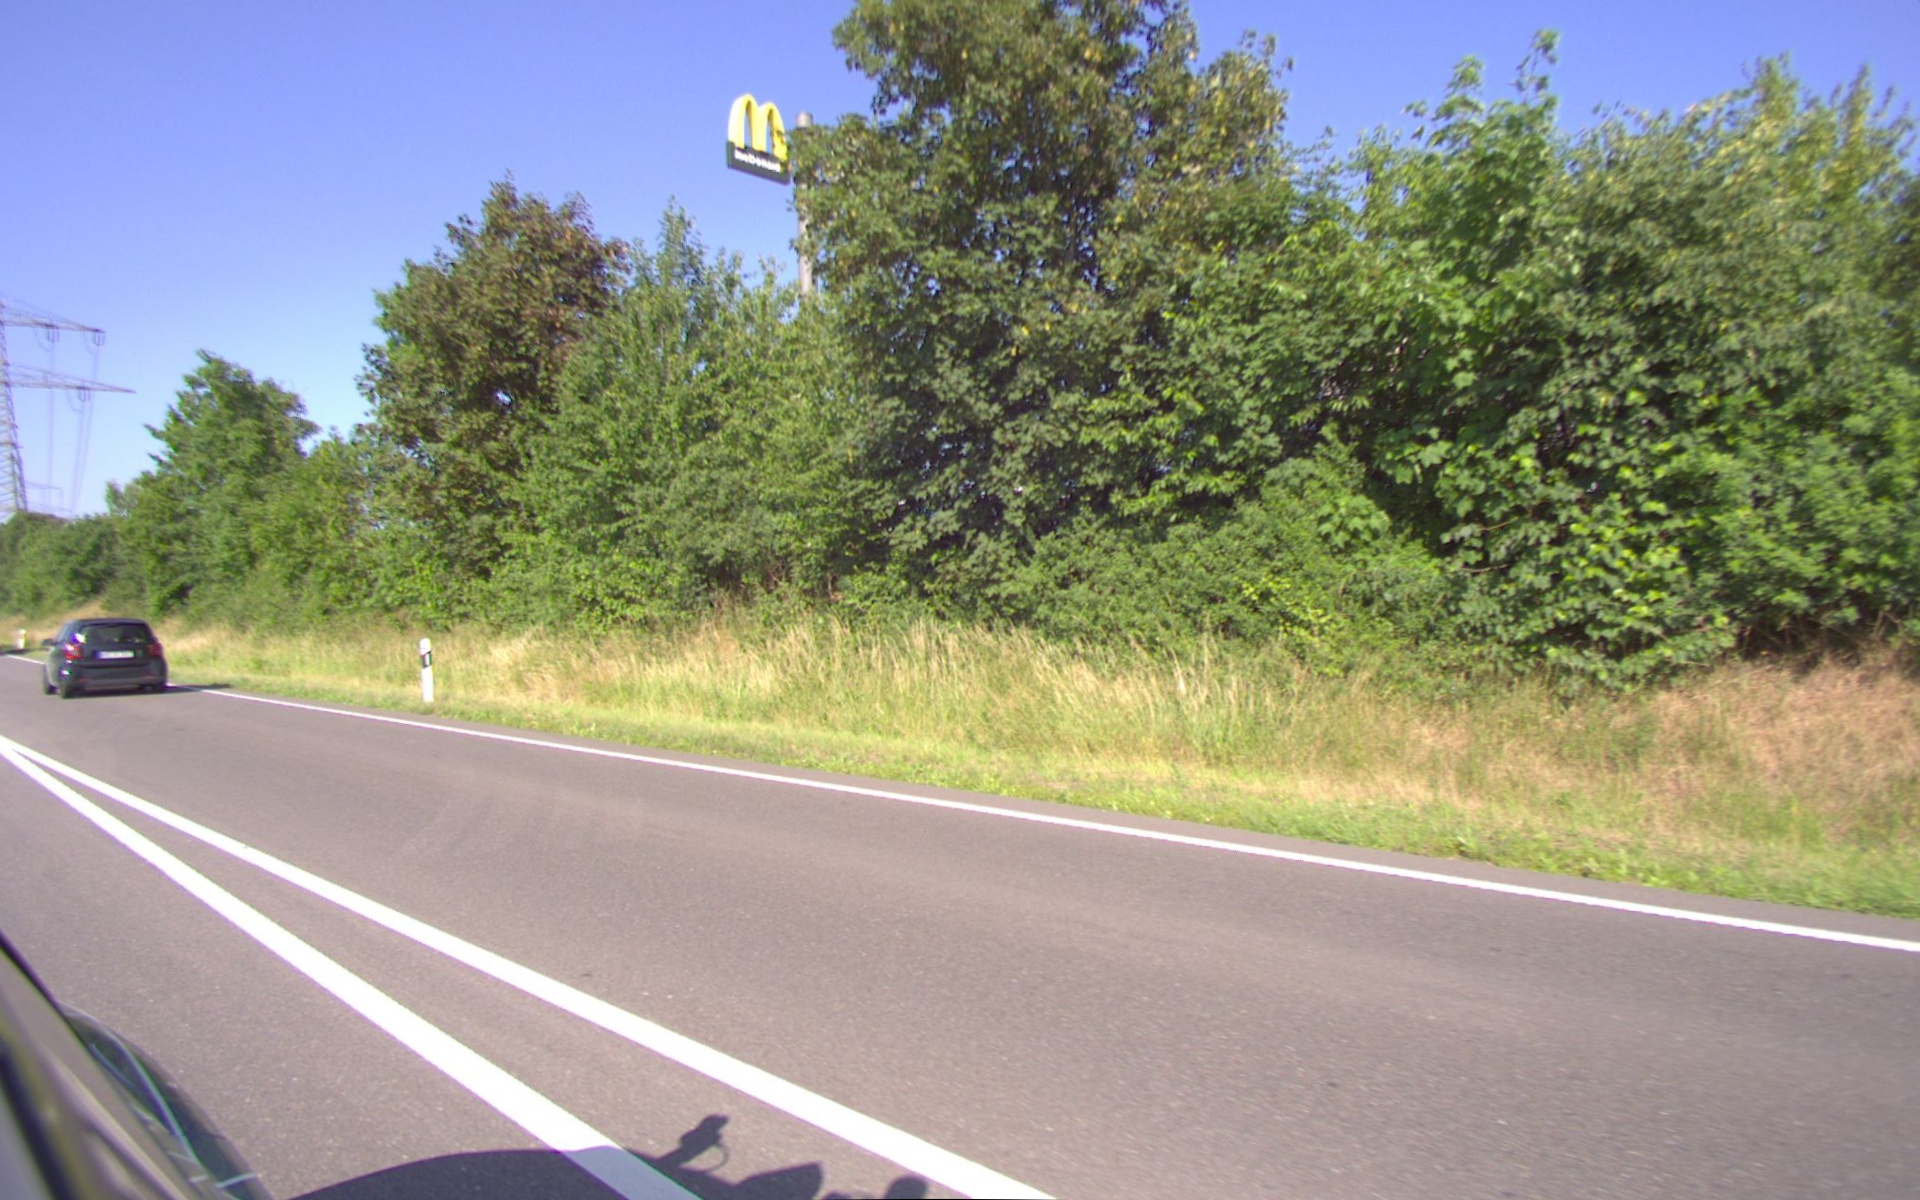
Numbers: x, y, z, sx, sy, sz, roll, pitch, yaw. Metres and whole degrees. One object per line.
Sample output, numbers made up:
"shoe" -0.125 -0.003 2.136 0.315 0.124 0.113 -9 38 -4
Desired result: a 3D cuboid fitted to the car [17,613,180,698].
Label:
"car" -17.622 1.075 20.650 3.996 1.571 1.838 -1 -2 39
